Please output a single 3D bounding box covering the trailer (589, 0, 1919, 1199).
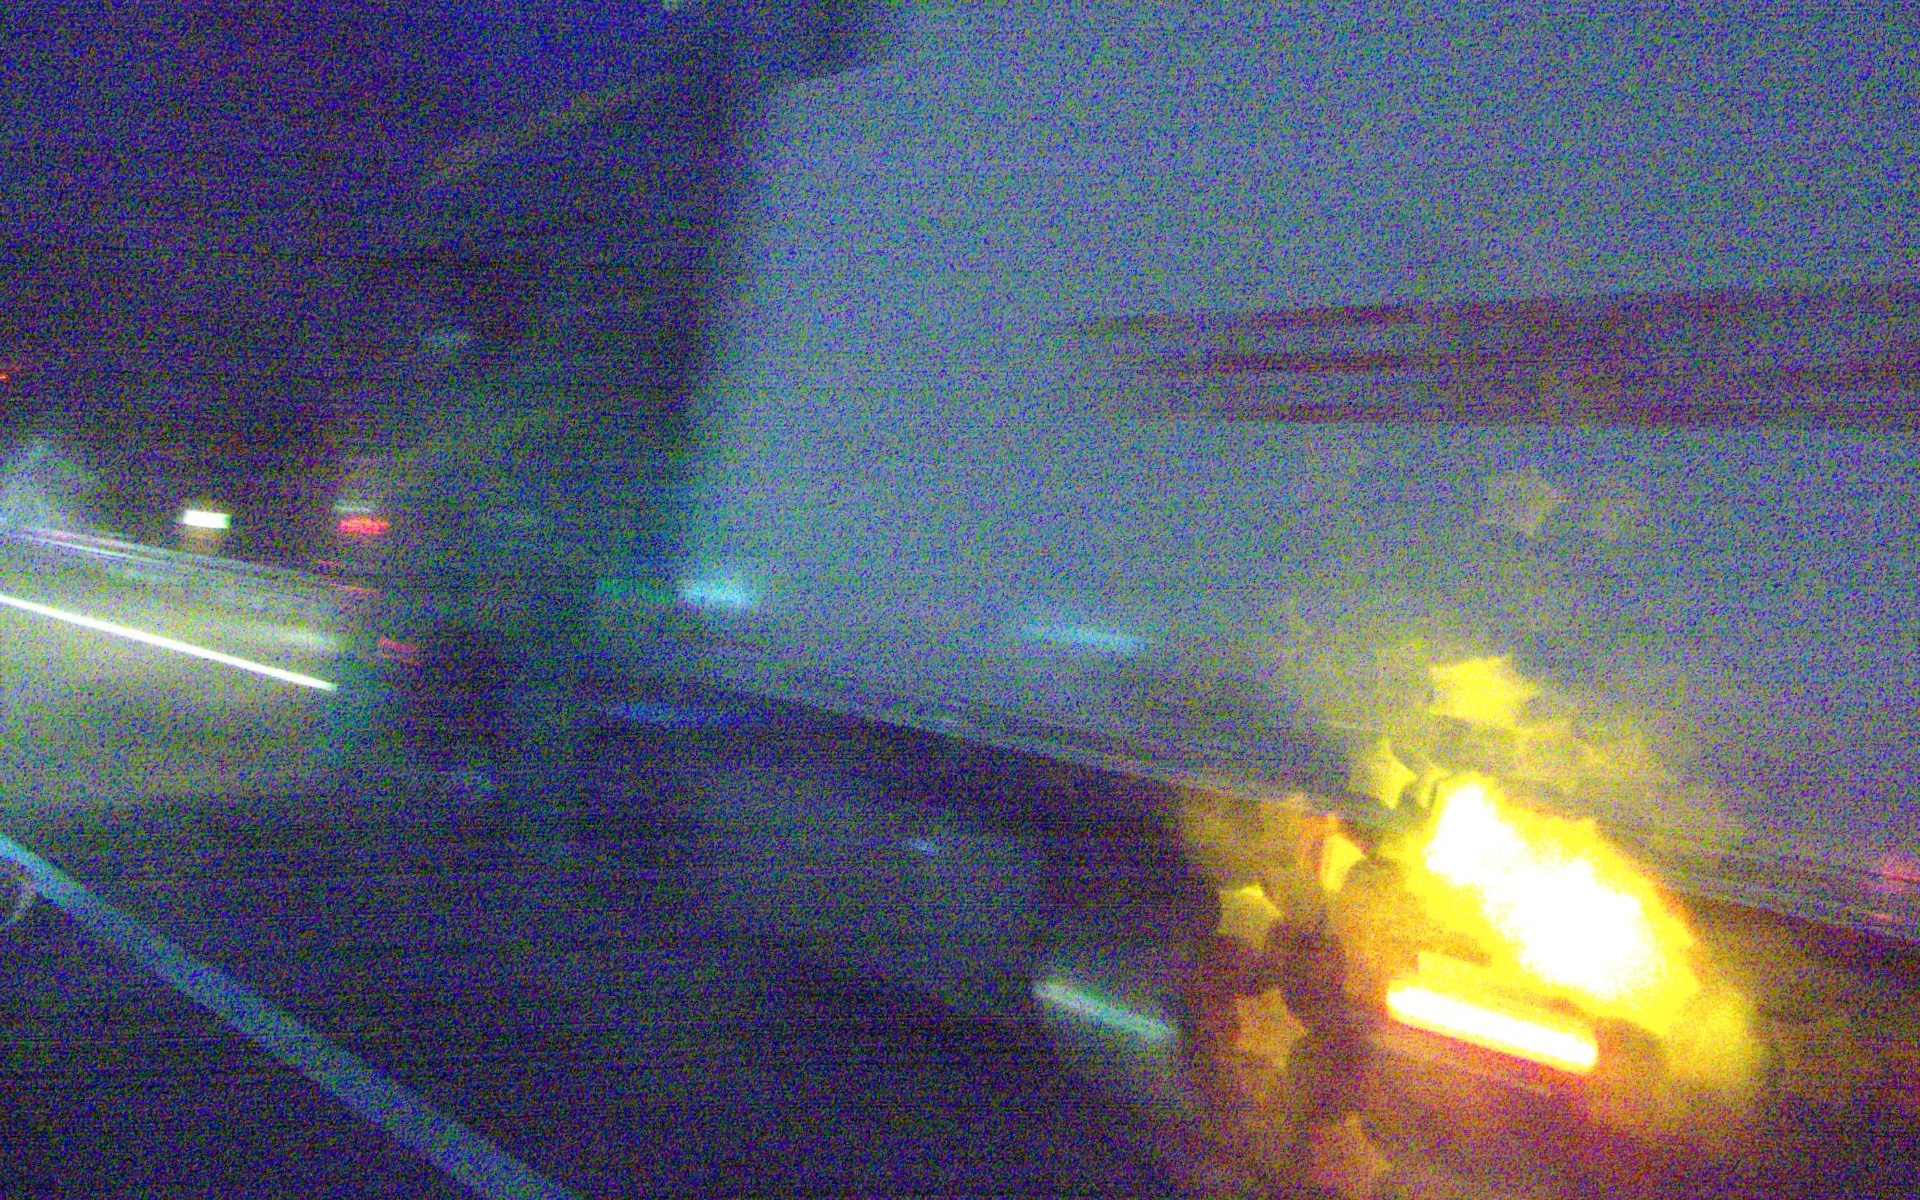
[{"bbox_3d":[5.262,0.085,1.375,13.147,4.294,2.747,7,-3,31],"label":"trailer"}]

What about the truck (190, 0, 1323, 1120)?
[{"bbox_3d":[-1.266,-0.759,5.467,5.207,4.292,2.713,7,0,33],"label":"truck"}]
